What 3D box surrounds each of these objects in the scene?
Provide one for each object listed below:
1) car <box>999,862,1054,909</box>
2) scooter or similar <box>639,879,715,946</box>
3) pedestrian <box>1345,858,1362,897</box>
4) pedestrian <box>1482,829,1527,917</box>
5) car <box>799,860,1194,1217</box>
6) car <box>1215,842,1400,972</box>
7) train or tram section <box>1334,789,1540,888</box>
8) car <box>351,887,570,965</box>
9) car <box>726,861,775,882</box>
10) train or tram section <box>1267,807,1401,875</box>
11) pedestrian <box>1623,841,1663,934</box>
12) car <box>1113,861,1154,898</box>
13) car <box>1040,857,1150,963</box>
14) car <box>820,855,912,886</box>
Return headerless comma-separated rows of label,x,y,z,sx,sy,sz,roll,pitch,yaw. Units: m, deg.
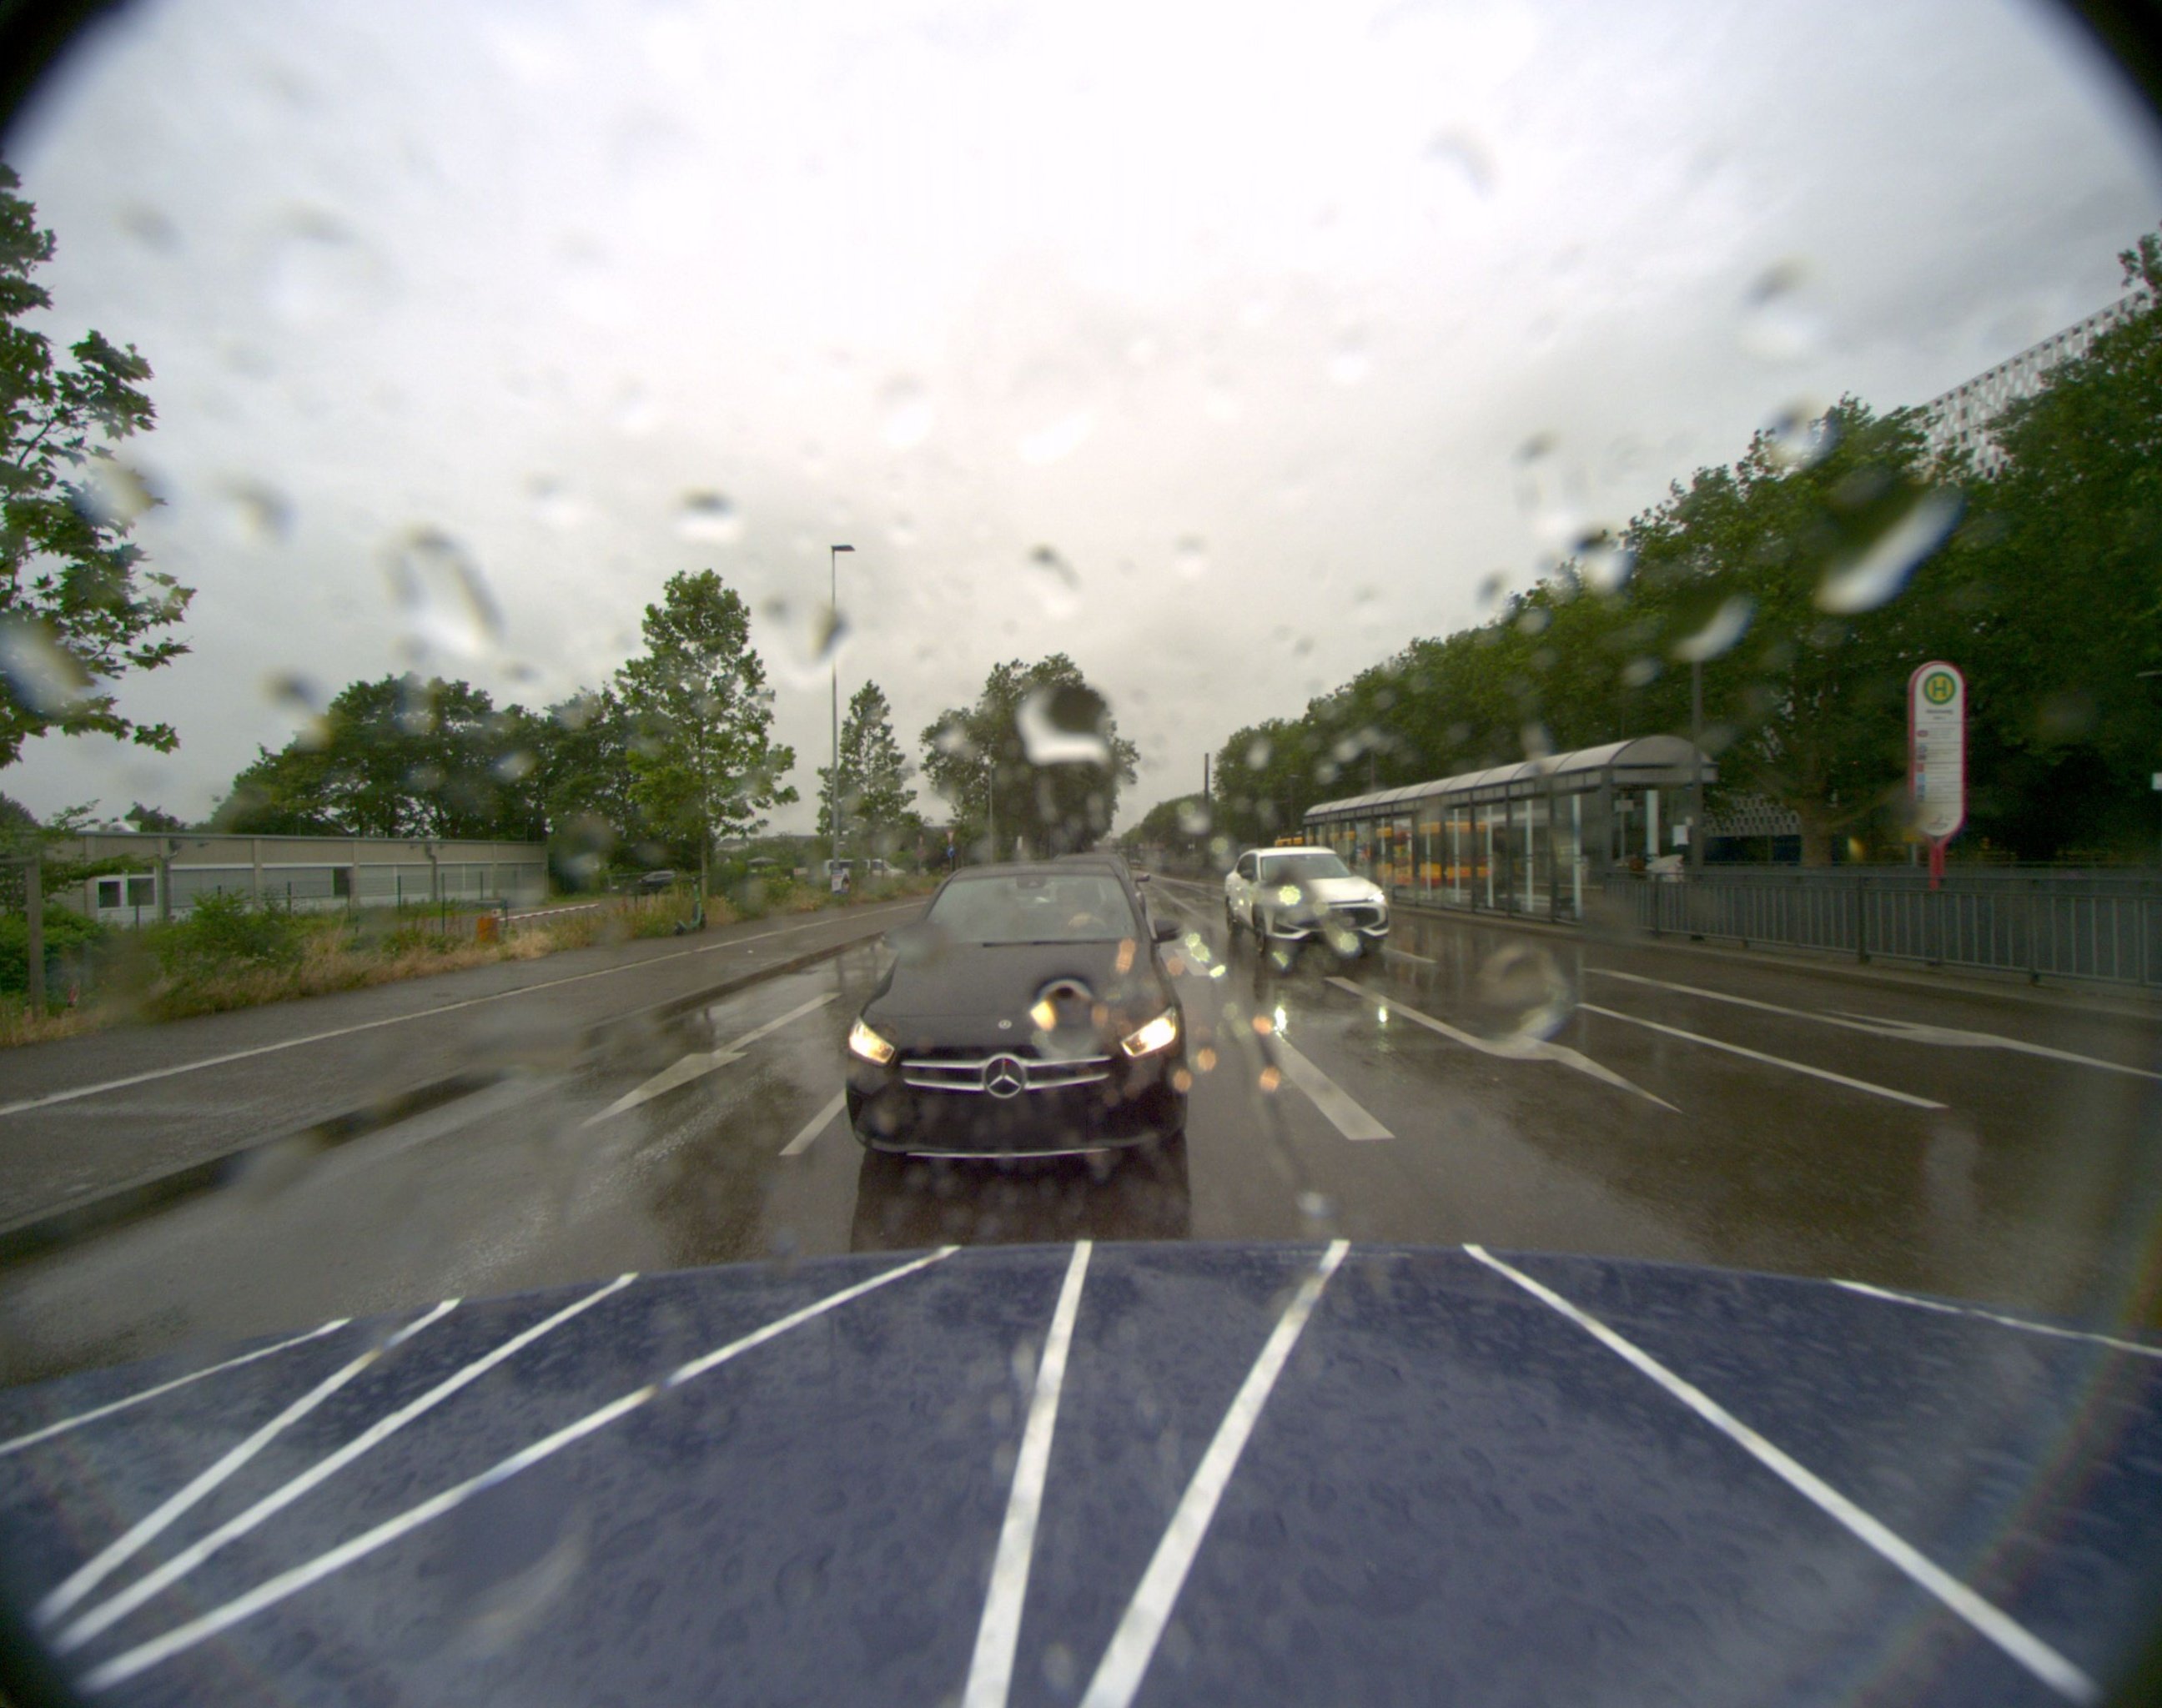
car,-1.886,1.093,27.283,1.557,1.500,3.618,-2,0,1
scooter or similar,-8.192,1.157,15.482,0.367,1.192,1.913,-2,1,4
pedestrian,8.787,0.754,24.527,0.458,1.229,0.467,-2,2,15
pedestrian,9.259,0.411,16.637,0.655,1.860,0.773,-2,1,17
car,-0.208,0.863,5.511,1.758,1.572,4.171,-2,0,5
car,3.596,0.728,13.031,1.935,1.765,4.664,-3,0,3
train or tram section,16.611,-0.663,37.346,3.751,3.817,13.253,-3,0,0
car,-12.030,1.376,14.822,3.243,1.281,1.345,-3,1,6
car,-28.240,1.465,65.015,3.552,1.574,1.345,-3,1,6
train or tram section,16.576,-0.790,51.759,3.751,3.777,15.569,-3,0,0
pedestrian,9.194,0.534,12.441,0.321,1.485,0.415,-3,2,6
car,2.416,1.126,35.543,1.557,1.541,3.717,-3,0,0
car,0.276,0.883,13.767,1.689,1.611,4.000,-1,0,2
car,-13.574,1.019,48.120,5.174,1.715,2.006,-3,1,-1
